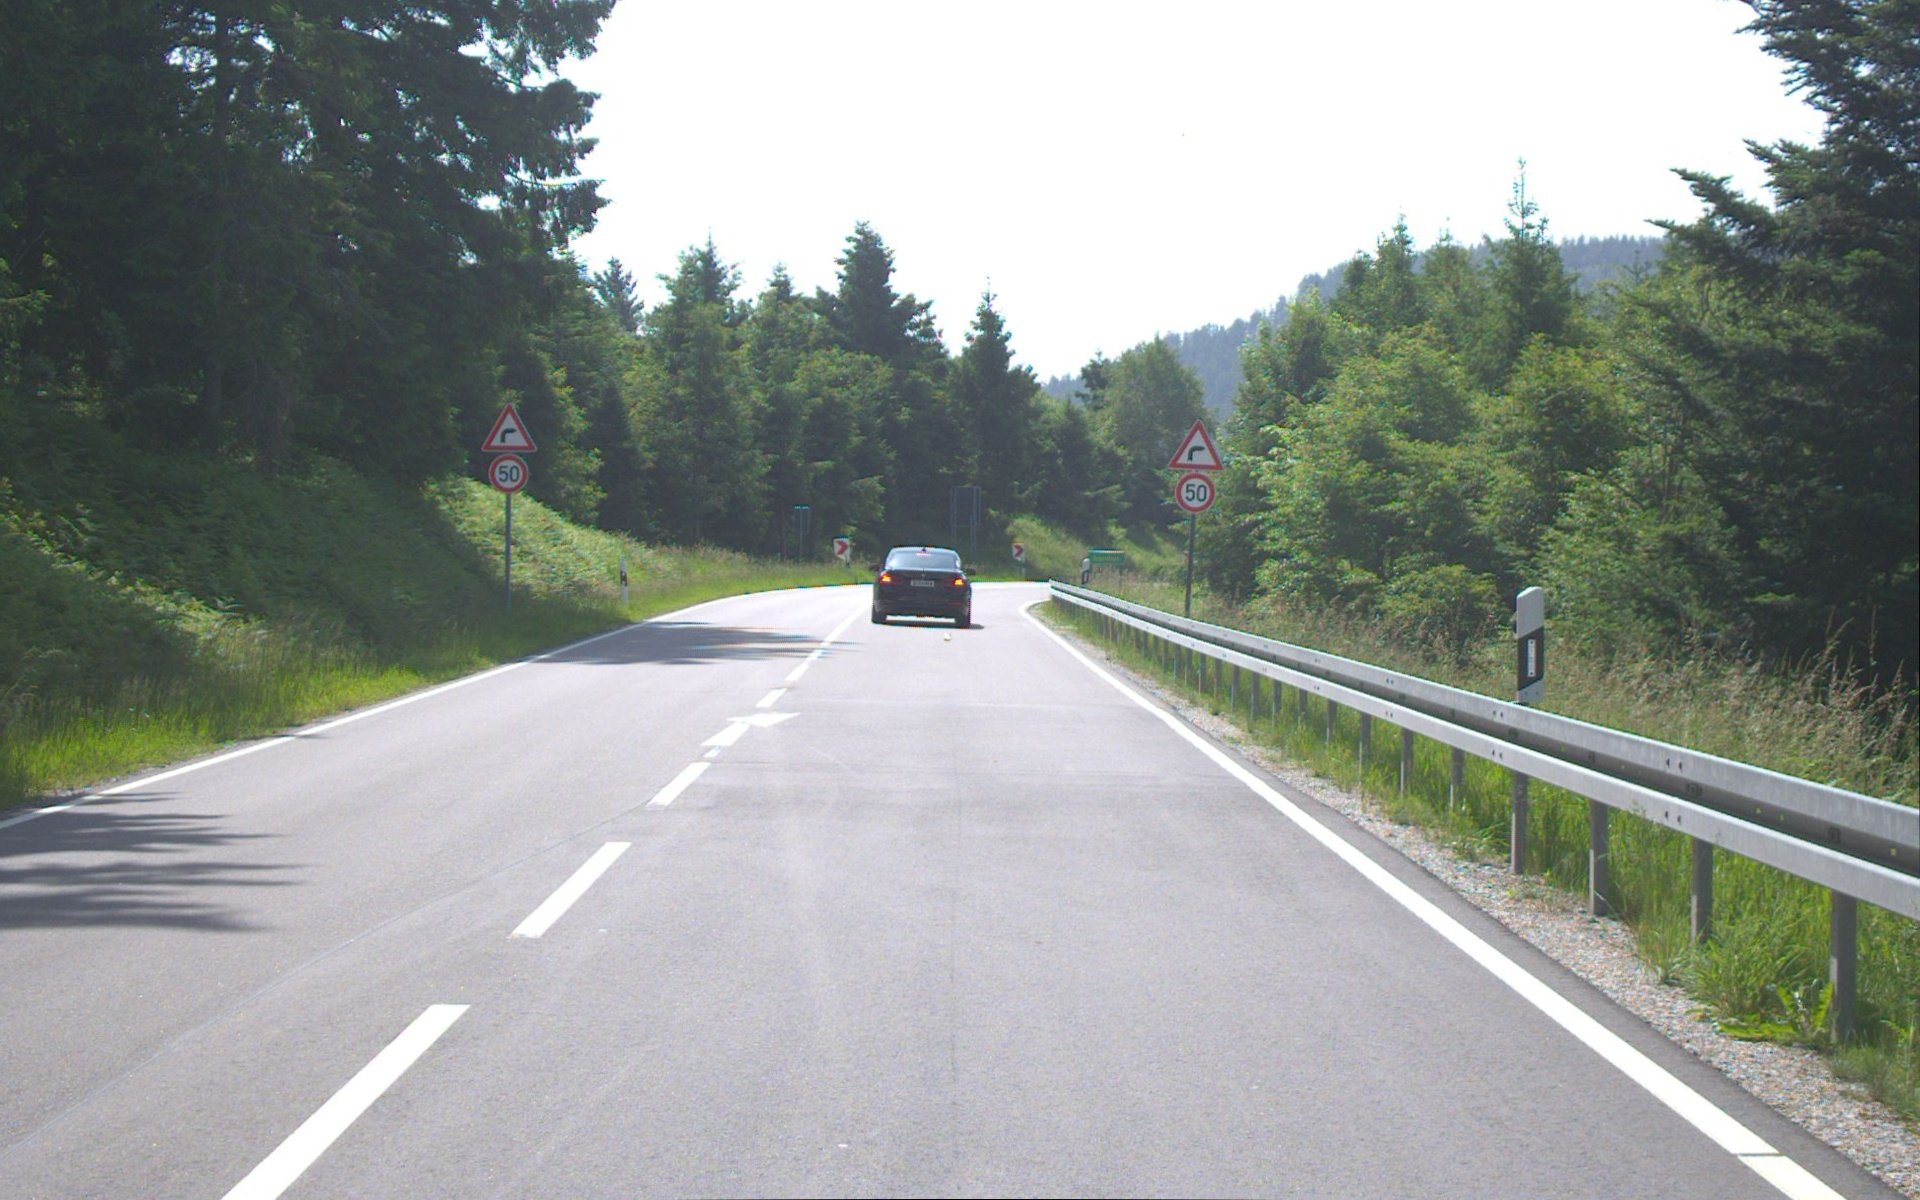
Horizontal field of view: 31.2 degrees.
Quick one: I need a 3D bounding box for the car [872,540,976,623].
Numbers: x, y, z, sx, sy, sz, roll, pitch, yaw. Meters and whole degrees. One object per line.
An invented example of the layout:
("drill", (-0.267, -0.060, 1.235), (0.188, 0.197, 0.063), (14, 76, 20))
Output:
("car", (-0.631, -0.353, 63.106), (1.776, 1.437, 3.709), (2, 1, 1))
